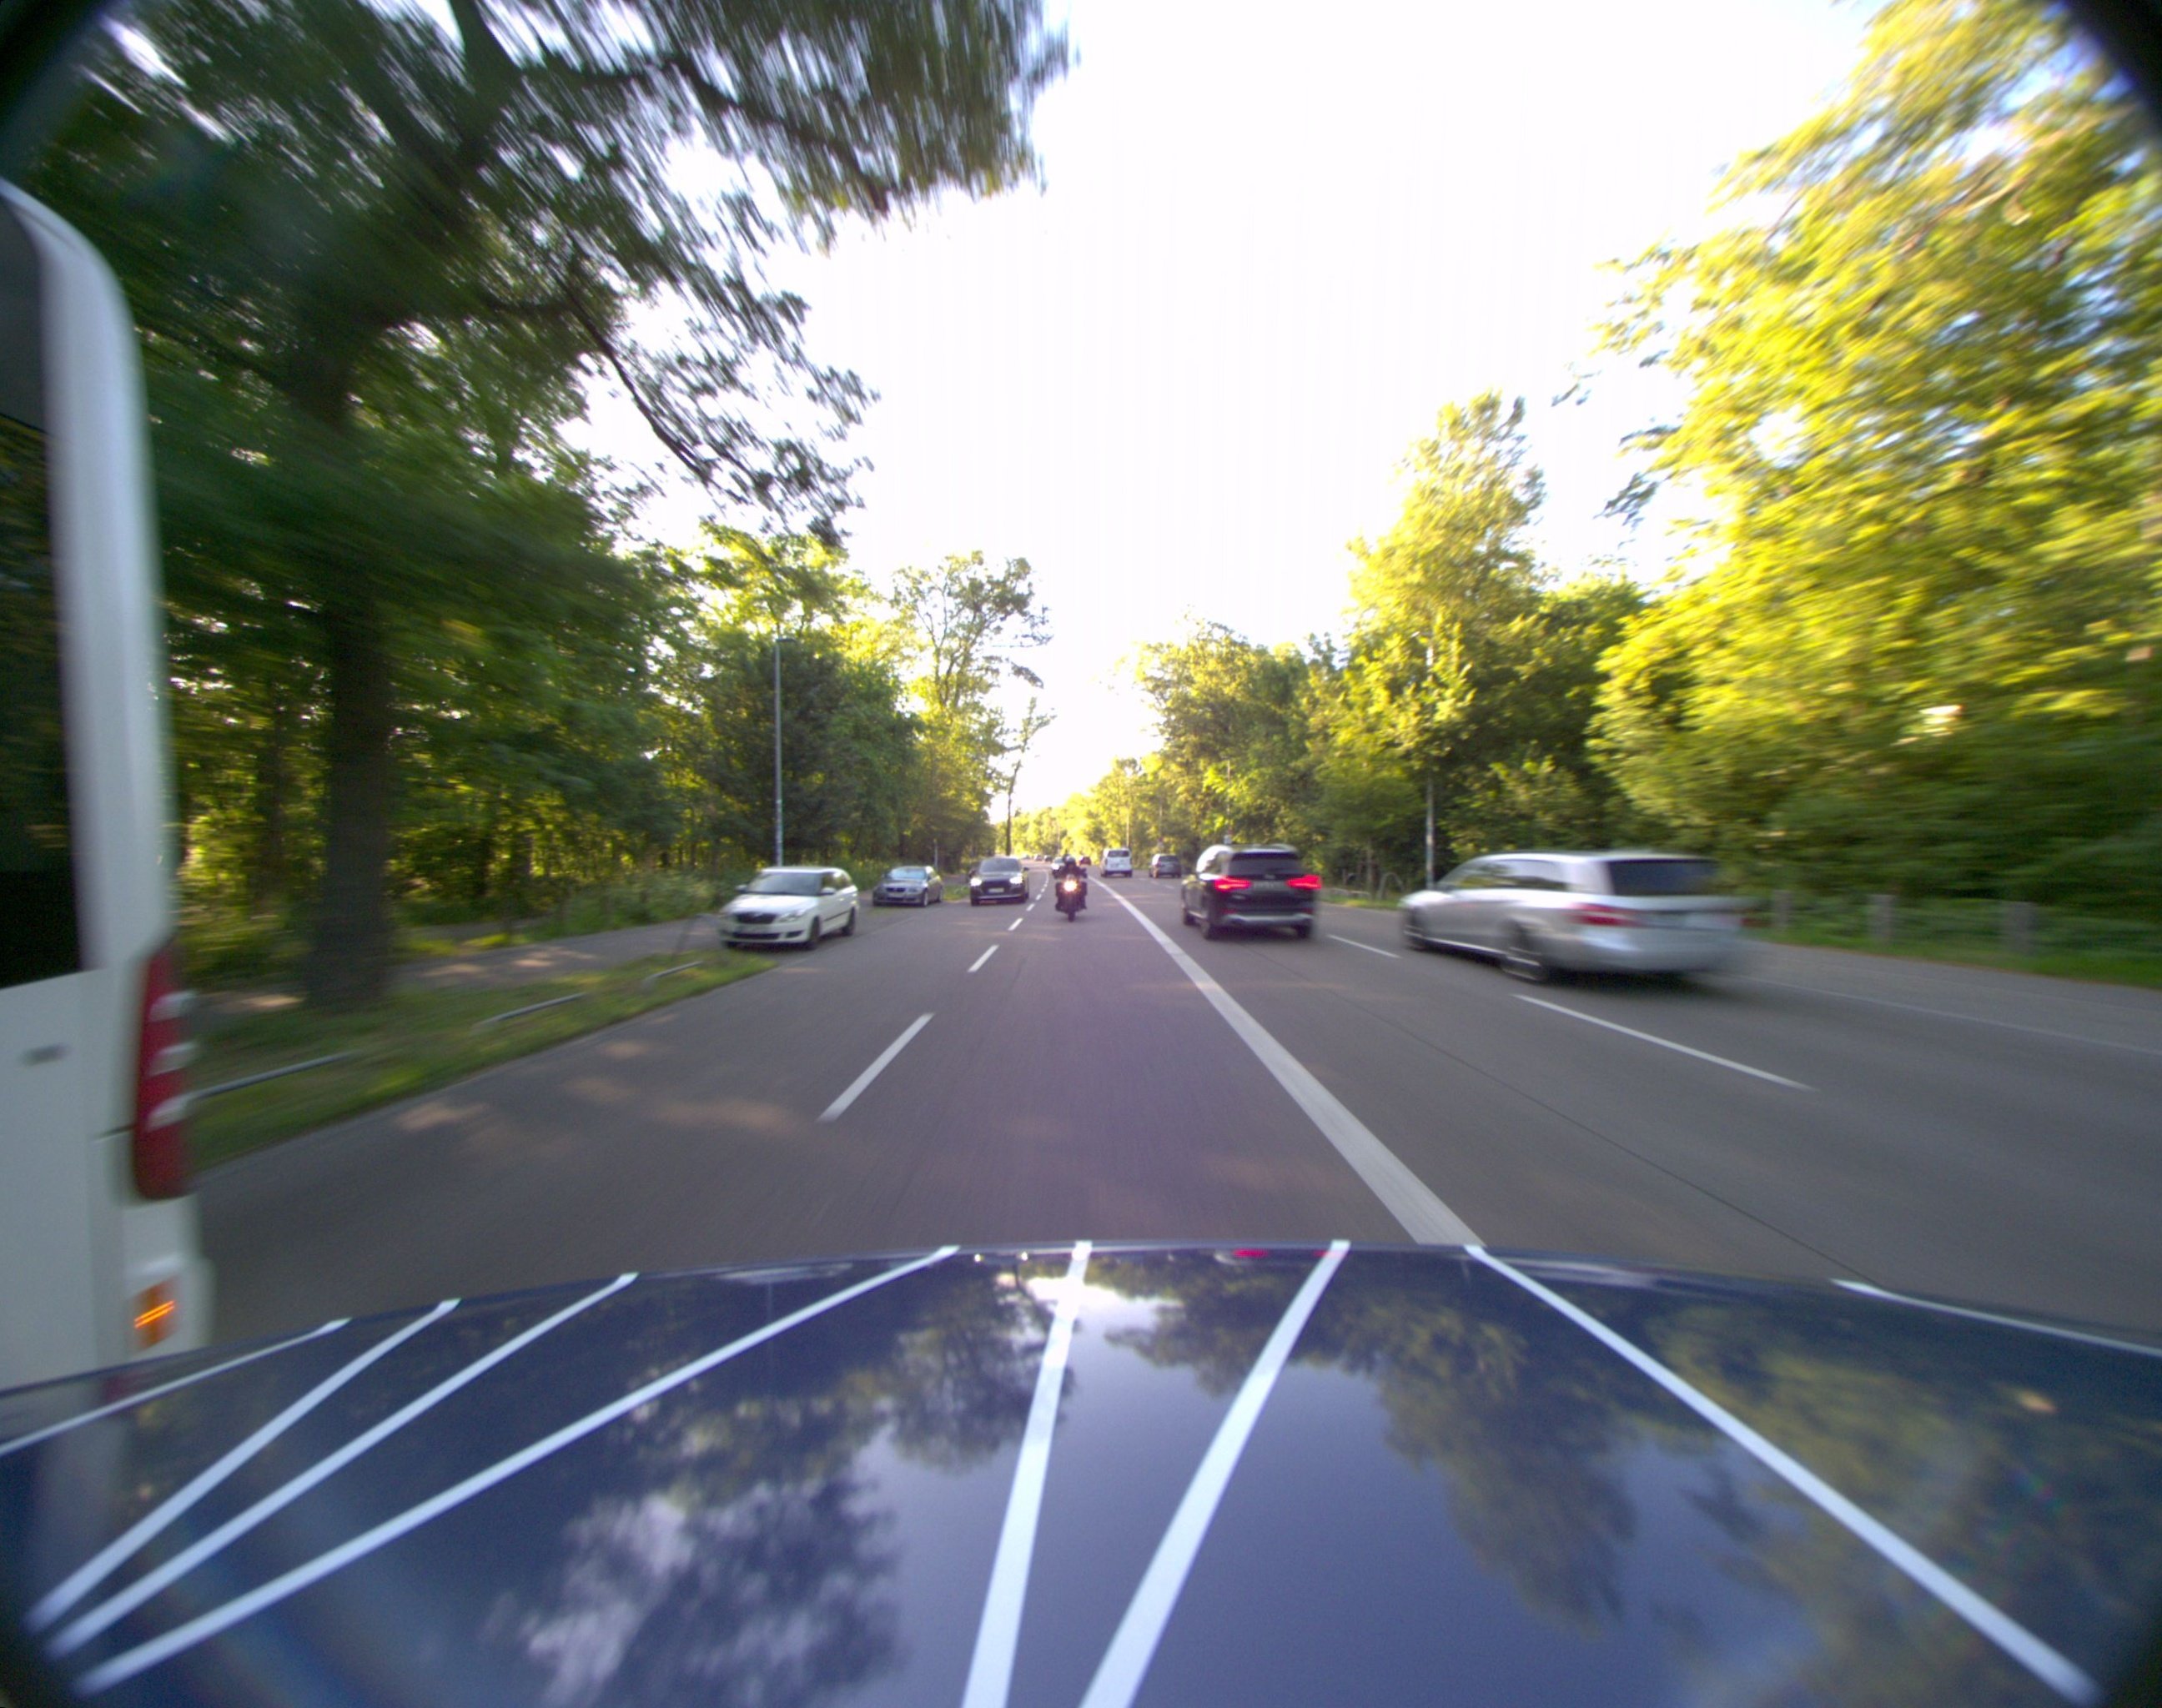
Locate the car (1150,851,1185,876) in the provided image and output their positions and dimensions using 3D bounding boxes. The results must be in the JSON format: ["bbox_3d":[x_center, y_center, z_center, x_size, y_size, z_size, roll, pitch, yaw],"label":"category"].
[{"bbox_3d":[5.717,0.620,50.645,1.805,1.590,3.999,-1,0,-1],"label":"car"}]

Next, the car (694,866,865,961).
[{"bbox_3d":[-5.688,1.035,14.947,1.732,1.502,4.169,2,0,-1],"label":"car"}]

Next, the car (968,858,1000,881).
[{"bbox_3d":[-6.316,0.995,49.905,1.740,1.384,3.944,-1,0,-3],"label":"car"}]

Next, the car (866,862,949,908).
[{"bbox_3d":[-6.047,1.044,26.988,1.857,1.384,4.521,2,0,0],"label":"car"}]

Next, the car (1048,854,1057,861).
[{"bbox_3d":[-6.114,0.755,163.950,1.810,1.536,4.088,-1,0,-3],"label":"car"}]

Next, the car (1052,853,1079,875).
[{"bbox_3d":[-1.293,0.839,65.005,1.998,1.761,4.232,-1,1,3],"label":"car"}]

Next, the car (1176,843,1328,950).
[{"bbox_3d":[3.006,0.670,14.332,1.923,1.694,4.442,-1,0,1],"label":"car"}]

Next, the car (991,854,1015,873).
[{"bbox_3d":[-7.141,0.839,69.930,1.858,1.575,4.721,2,0,-3],"label":"car"}]

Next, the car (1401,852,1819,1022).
[{"bbox_3d":[5.803,0.755,9.225,1.903,1.523,4.528,-1,0,0],"label":"car"}]

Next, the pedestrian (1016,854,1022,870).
[{"bbox_3d":[-6.702,0.839,81.784,0.513,1.746,0.734,0,0,-16],"label":"pedestrian"}]

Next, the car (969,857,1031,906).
[{"bbox_3d":[-2.853,0.926,27.522,1.861,1.608,3.999,-1,0,-1],"label":"car"}]

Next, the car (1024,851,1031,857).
[{"bbox_3d":[-16.811,-0.043,239.554,1.999,1.649,4.446,-1,0,-5],"label":"car"}]

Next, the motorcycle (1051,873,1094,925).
[{"bbox_3d":[-0.241,1.097,19.411,0.956,1.098,3.339,-3,0,-1],"label":"motorcycle"}]

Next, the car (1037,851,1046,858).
[{"bbox_3d":[-9.767,0.140,187.783,1.912,1.746,4.797,0,0,-5],"label":"car"}]

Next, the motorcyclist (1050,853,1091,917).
[{"bbox_3d":[-0.265,0.760,19.259,0.953,1.523,1.073,-2,1,-2],"label":"motorcyclist"}]

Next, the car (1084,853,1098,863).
[{"bbox_3d":[1.473,0.556,117.909,1.828,1.454,4.923,-1,0,-3],"label":"car"}]

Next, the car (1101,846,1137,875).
[{"bbox_3d":[2.668,0.445,54.117,2.212,1.949,4.912,-1,0,-1],"label":"car"}]
